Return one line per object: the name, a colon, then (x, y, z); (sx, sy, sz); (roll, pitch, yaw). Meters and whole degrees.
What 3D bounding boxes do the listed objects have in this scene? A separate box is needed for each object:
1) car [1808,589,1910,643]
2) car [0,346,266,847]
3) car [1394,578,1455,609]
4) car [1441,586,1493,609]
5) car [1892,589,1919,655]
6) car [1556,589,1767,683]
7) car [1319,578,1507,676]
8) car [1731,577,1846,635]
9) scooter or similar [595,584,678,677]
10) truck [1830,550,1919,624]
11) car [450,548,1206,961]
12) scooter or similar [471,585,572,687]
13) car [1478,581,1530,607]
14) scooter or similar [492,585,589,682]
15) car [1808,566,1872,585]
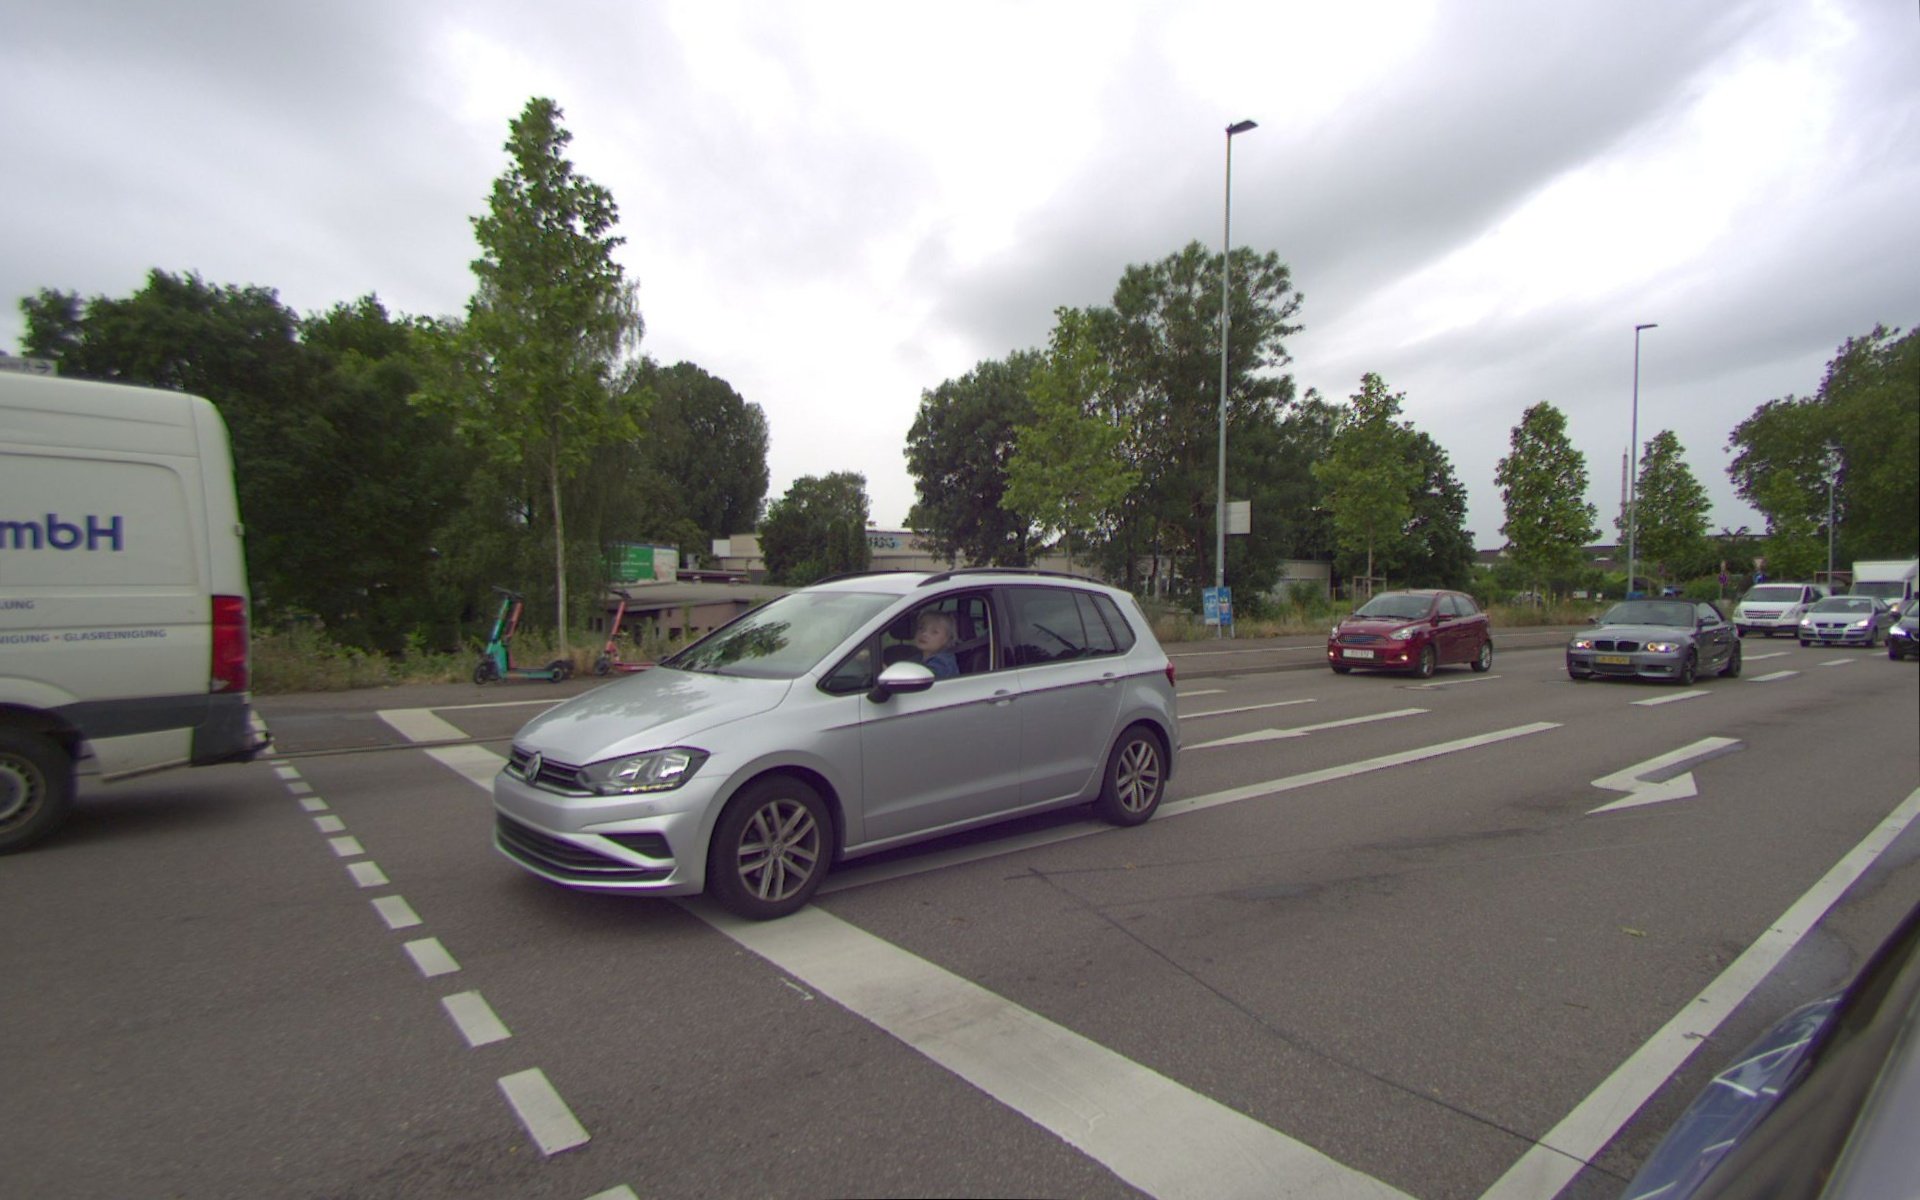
car: (25.677, 0.409, 28.860); (3.782, 1.437, 1.681); (0, 0, -40)
car: (-7.251, -0.025, 5.219); (5.797, 2.659, 2.660); (0, 0, -42)
car: (33.366, -0.473, 72.623); (4.476, 2.038, 2.189); (1, 2, -39)
car: (39.109, -0.178, 78.055); (4.572, 1.717, 2.119); (0, 0, -43)
car: (22.440, 0.467, 22.554); (4.267, 1.408, 1.997); (0, 0, -41)
car: (12.066, 0.527, 17.309); (4.265, 1.408, 1.874); (0, 0, -39)
car: (8.166, 0.427, 18.118); (3.704, 1.581, 1.654); (0, 0, -40)
car: (29.255, 0.169, 35.682); (5.026, 1.904, 2.099); (0, 0, -38)
scooter or similar: (-4.570, 0.415, 14.297); (1.027, 1.229, 0.376); (-3, 4, -33)
truck: (40.341, -0.534, 43.535); (6.417, 2.960, 2.829); (0, 0, -34)
car: (-0.504, 0.565, 5.953); (4.130, 1.571, 1.857); (0, 1, -43)
scooter or similar: (-5.714, 0.447, 13.188); (1.132, 1.258, 0.478); (0, 2, -33)
car: (45.491, -0.481, 84.589); (4.477, 2.039, 2.314); (1, 0, -40)
scooter or similar: (-5.700, 0.437, 13.769); (1.133, 1.258, 0.391); (0, 2, -38)
car: (74.209, -2.067, 85.368); (1.781, 1.527, 3.990); (-1, 1, -43)
